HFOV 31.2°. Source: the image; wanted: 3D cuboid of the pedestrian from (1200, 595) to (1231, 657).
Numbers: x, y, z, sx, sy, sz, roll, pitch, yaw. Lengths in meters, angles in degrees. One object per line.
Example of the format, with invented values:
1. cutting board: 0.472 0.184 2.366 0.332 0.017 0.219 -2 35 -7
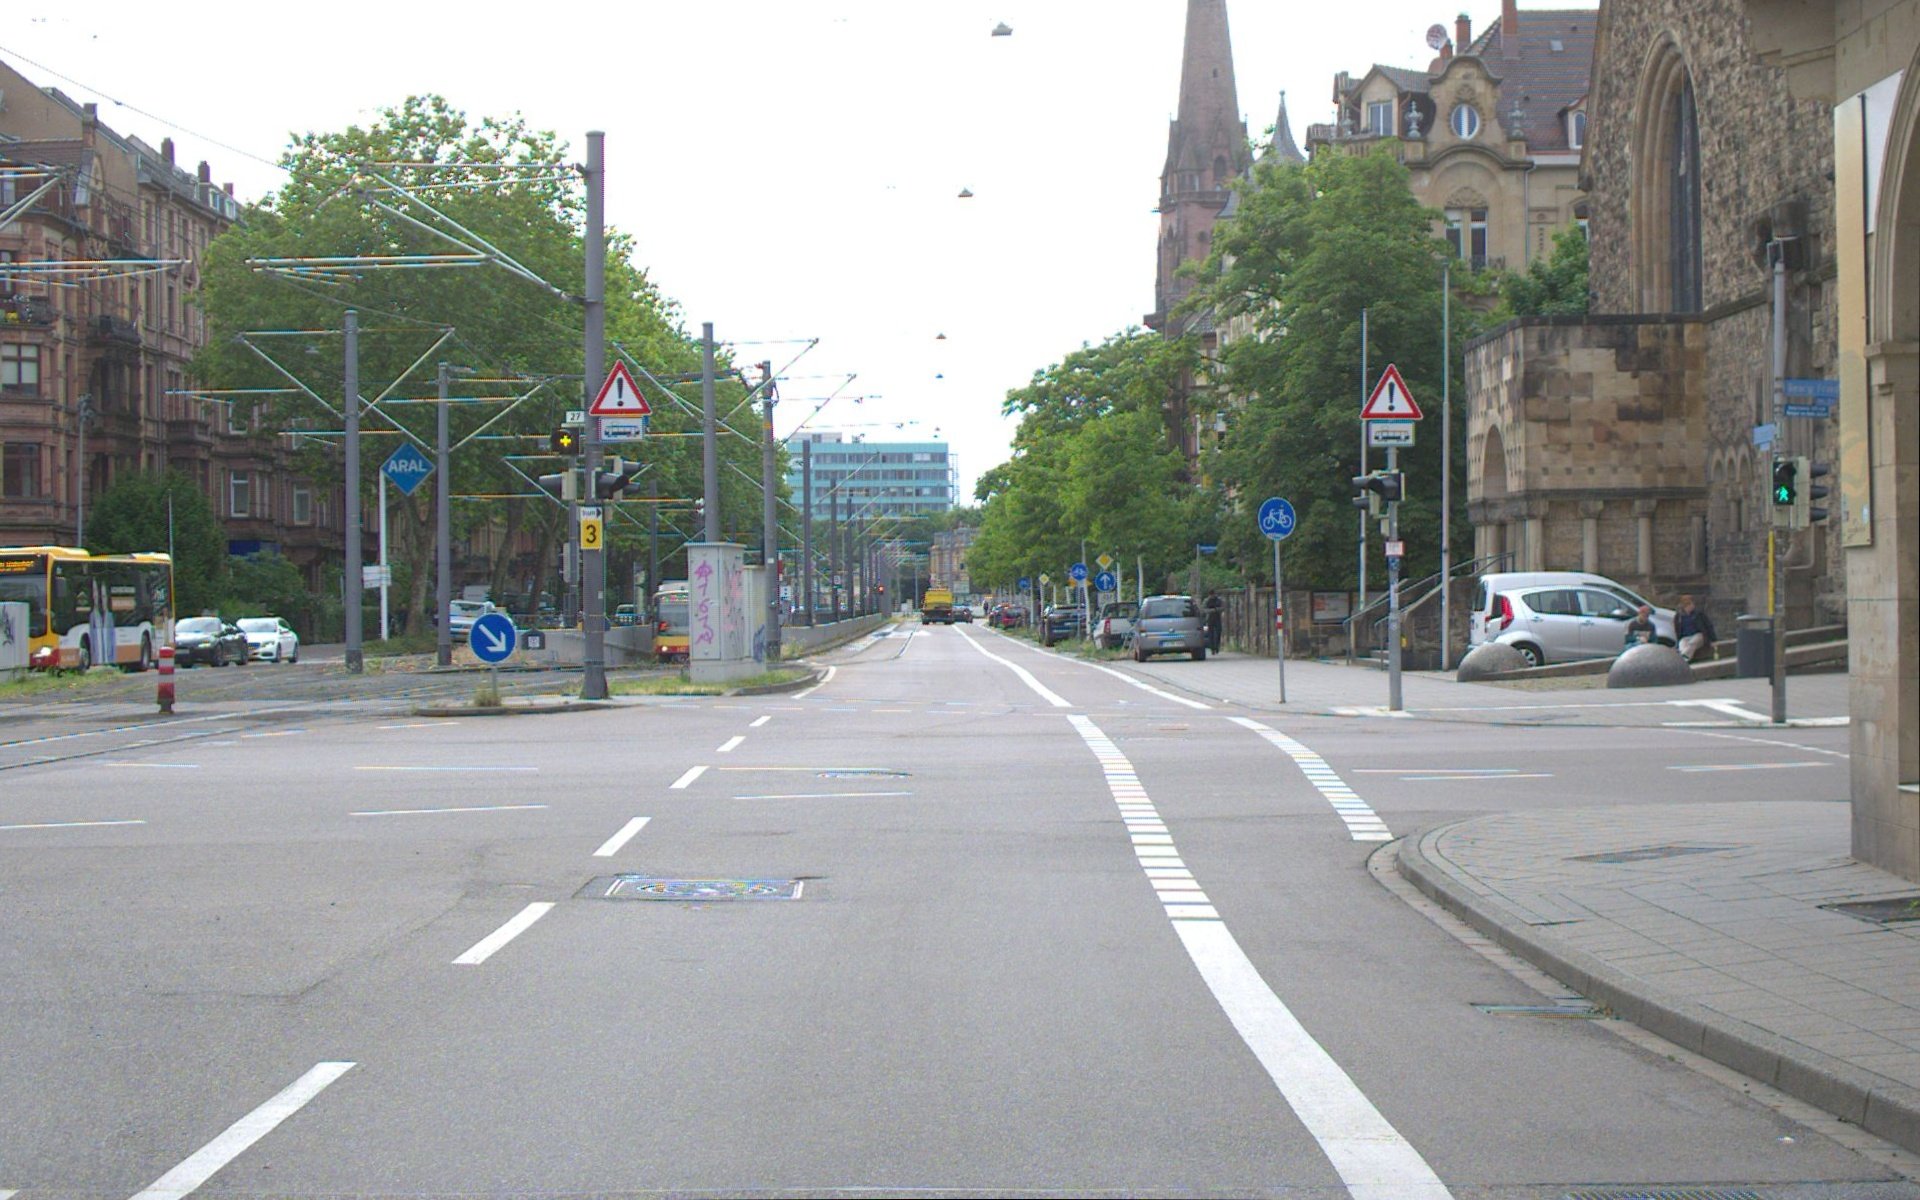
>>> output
1. pedestrian: 6.826 0.682 91.845 0.776 1.641 0.798 1 0 6

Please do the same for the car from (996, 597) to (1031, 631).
1. car: 3.325 0.857 213.490 1.993 2.007 4.000 1 0 -1

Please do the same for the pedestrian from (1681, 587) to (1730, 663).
1. pedestrian: 12.269 0.407 56.585 0.737 1.224 1.062 1 0 15

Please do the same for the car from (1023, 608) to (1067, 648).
1. car: 4.151 1.369 167.620 1.993 1.875 4.000 0 0 0

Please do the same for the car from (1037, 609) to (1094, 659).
1. car: 4.007 1.288 131.389 1.993 1.814 4.000 0 0 0

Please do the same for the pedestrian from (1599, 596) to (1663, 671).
1. pedestrian: 10.961 0.542 56.182 0.736 1.187 1.493 1 0 0

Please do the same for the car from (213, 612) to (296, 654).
1. car: -21.492 0.996 104.871 1.702 1.217 3.890 1 0 0

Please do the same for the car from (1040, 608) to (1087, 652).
1. car: 4.841 1.385 161.343 1.993 2.007 4.000 1 0 -1

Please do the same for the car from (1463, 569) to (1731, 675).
1. car: 11.743 0.393 63.534 4.610 1.875 1.663 1 0 0

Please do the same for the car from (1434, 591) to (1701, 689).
1. car: 10.574 0.687 60.022 4.348 1.630 1.663 1 0 0

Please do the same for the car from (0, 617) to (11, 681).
1. car: -21.815 1.061 73.984 1.702 1.393 3.890 1 0 0

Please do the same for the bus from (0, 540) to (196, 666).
1. bus: -21.857 0.041 84.580 3.281 2.847 12.380 1 0 0

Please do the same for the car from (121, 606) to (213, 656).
1. car: -22.505 0.860 97.704 1.702 1.354 3.890 1 0 0

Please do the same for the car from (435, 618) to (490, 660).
1. car: -20.946 1.640 144.856 1.702 1.706 3.890 1 0 0

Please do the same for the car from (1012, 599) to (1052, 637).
1. car: 3.895 0.944 186.191 1.993 2.007 4.000 1 0 -1
